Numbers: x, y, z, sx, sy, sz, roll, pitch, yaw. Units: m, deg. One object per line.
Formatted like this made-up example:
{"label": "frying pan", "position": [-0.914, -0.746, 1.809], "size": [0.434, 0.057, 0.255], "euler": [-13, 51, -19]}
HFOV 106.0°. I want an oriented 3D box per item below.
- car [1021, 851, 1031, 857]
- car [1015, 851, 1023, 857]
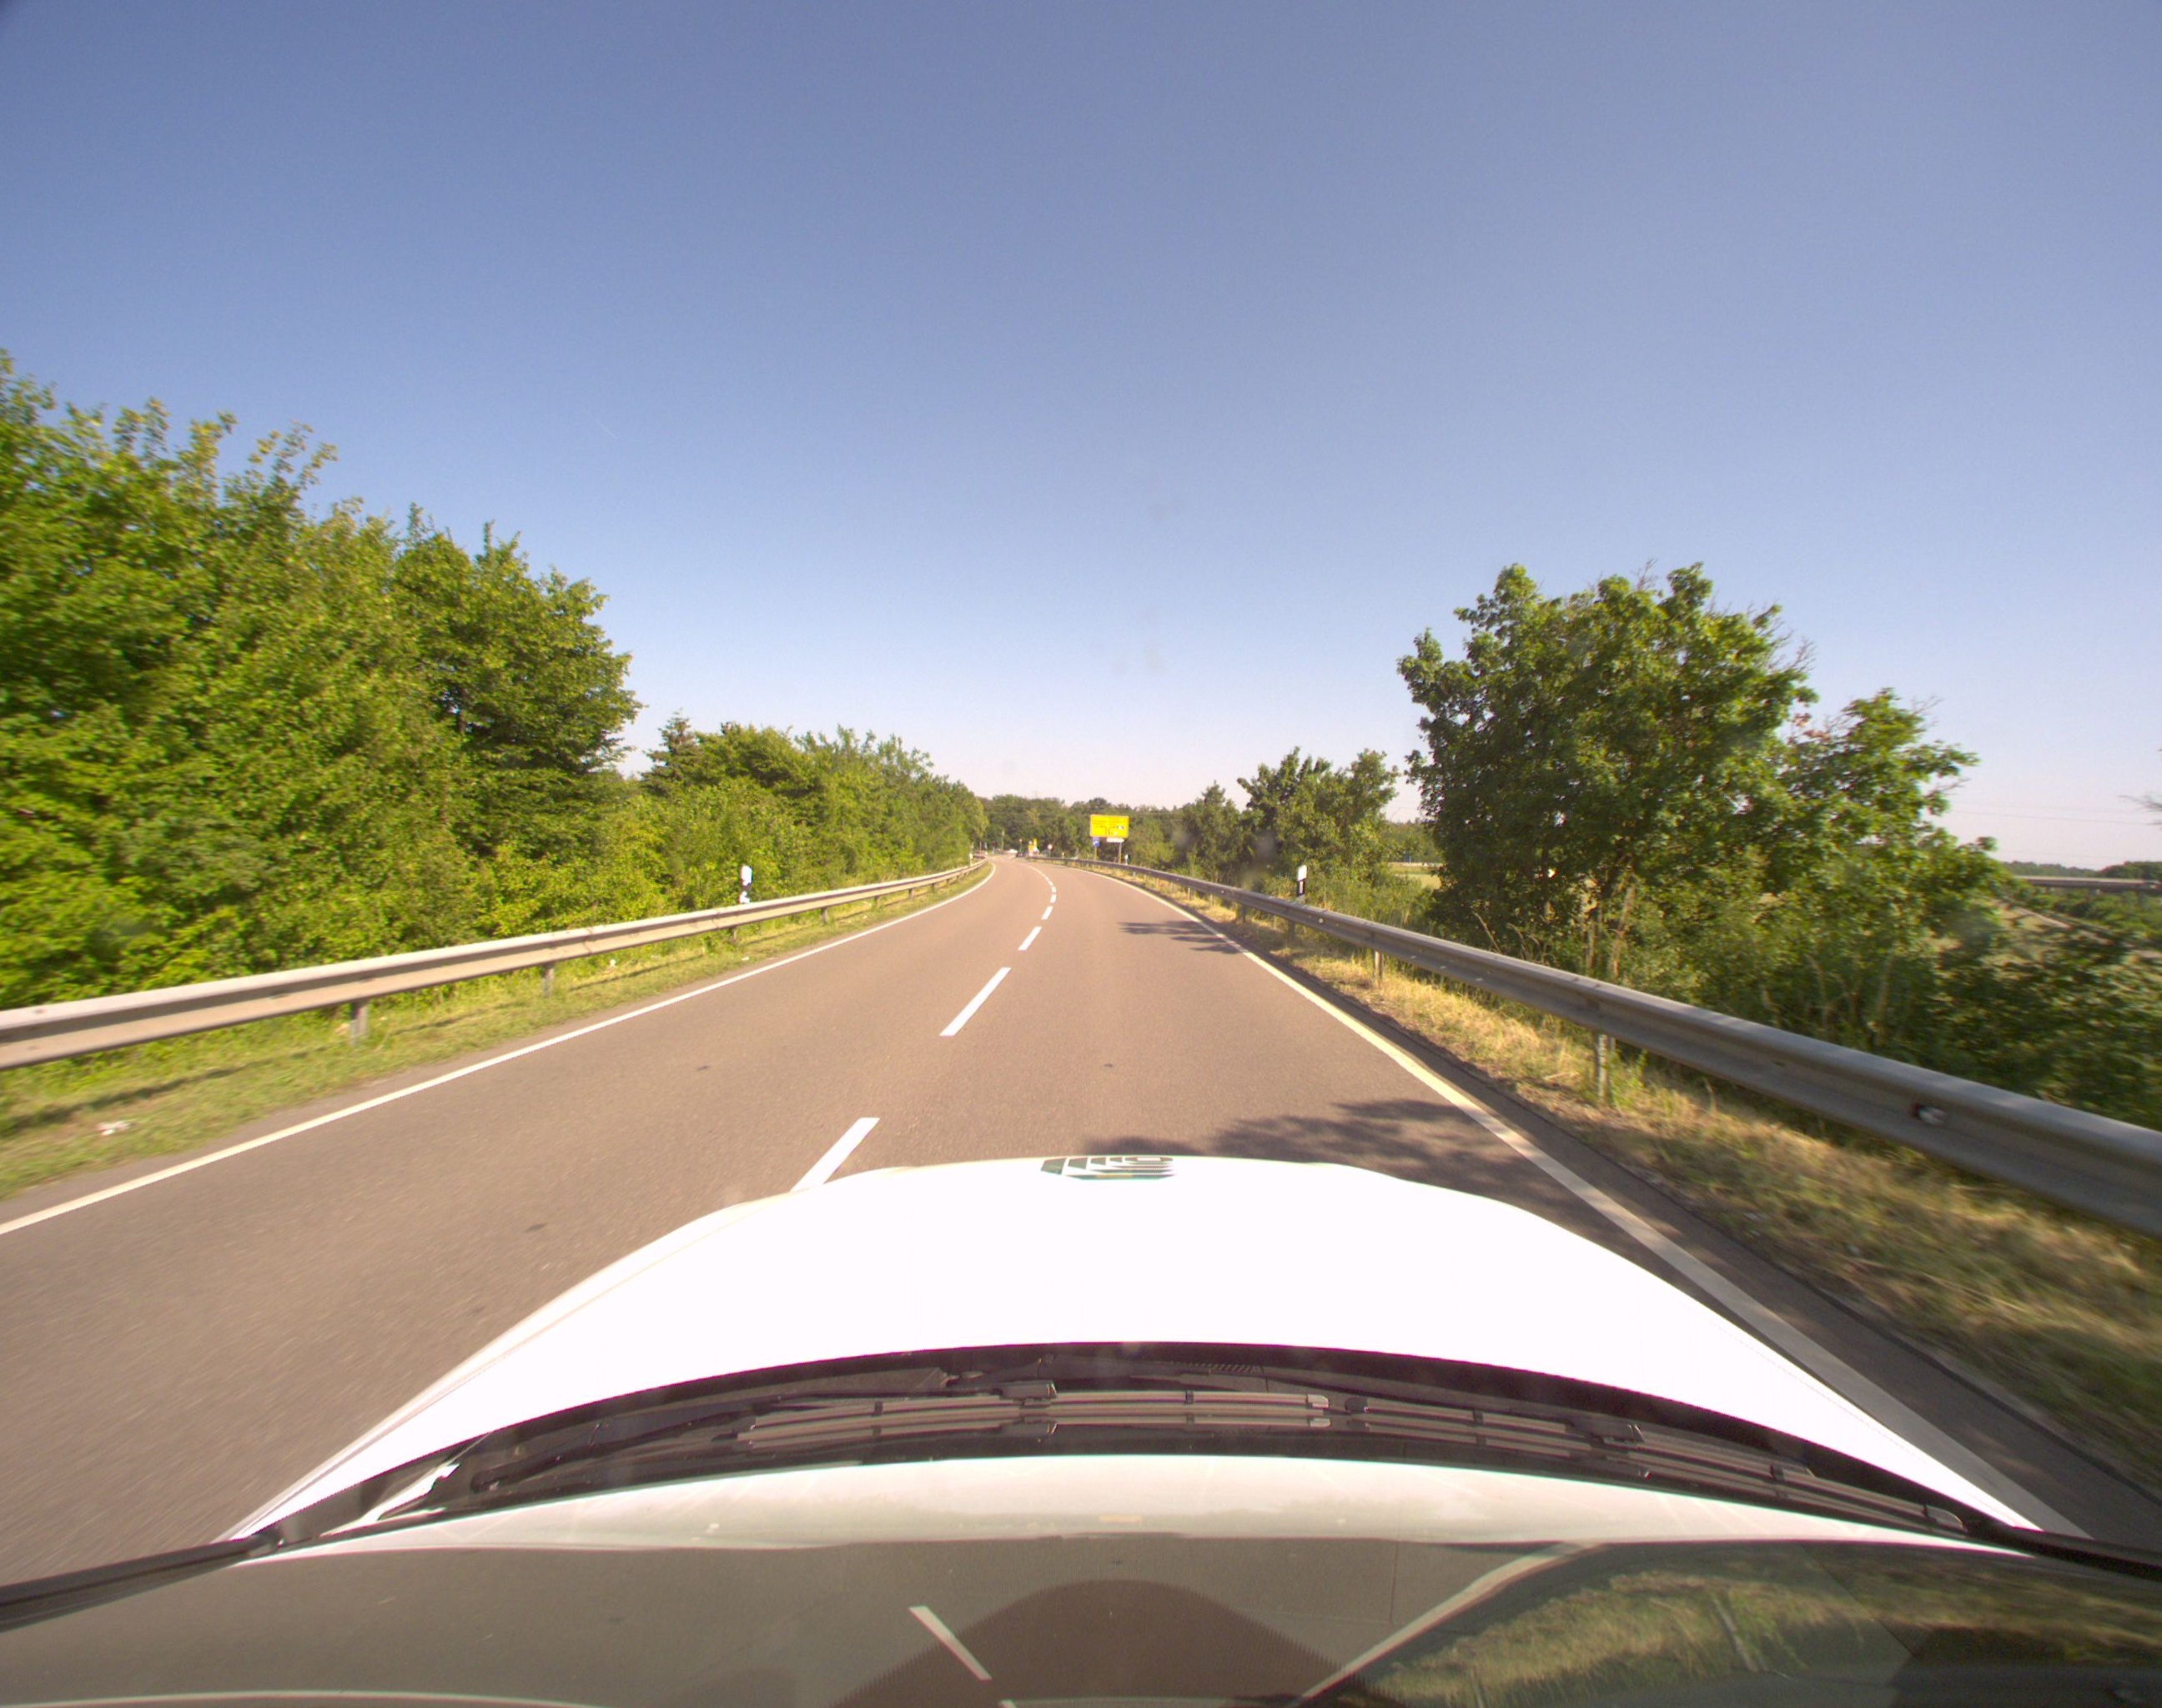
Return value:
{"label": "car", "position": [-15.117, 0.006, 224.793], "size": [1.788, 1.501, 4.011], "euler": [2, 0, 10]}
{"label": "car", "position": [-16.536, -0.124, 217.263], "size": [1.795, 1.398, 3.997], "euler": [-6, 0, -2]}
